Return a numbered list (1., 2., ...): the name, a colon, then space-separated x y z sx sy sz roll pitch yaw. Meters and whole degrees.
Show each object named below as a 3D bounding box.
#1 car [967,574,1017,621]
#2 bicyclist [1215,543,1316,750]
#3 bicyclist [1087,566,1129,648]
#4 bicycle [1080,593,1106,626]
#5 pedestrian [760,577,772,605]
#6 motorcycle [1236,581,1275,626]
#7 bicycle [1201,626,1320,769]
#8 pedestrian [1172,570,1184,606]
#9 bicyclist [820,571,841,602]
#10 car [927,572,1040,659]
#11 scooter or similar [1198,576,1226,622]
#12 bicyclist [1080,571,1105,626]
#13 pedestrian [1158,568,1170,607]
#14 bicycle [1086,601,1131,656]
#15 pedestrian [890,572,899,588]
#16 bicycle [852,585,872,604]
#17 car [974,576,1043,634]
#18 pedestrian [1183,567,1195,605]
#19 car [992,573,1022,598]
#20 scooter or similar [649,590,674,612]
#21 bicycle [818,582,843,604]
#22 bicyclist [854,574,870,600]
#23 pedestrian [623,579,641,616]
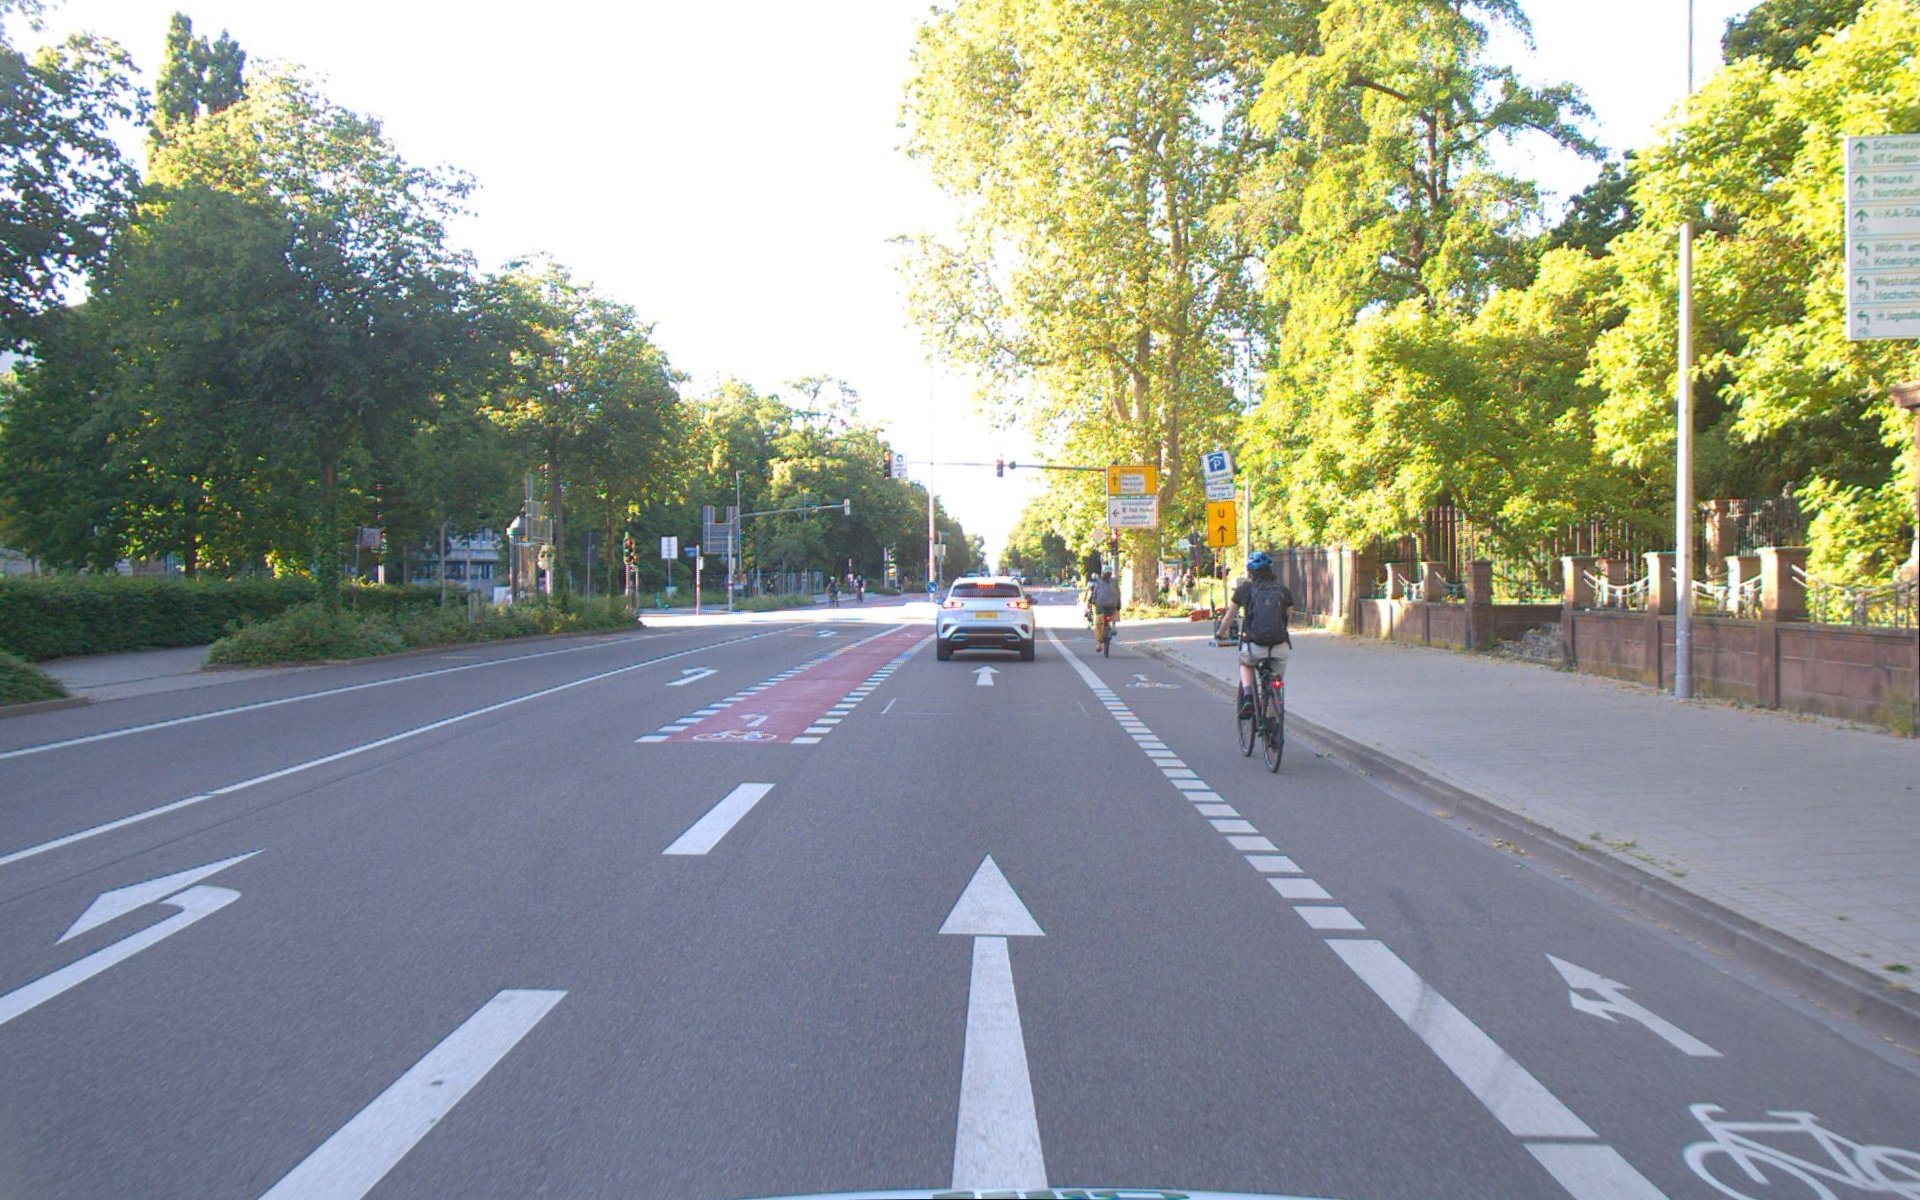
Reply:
1. car: 1.184 -0.114 61.038 1.734 1.619 4.001 -2 1 1
2. bicyclist: 2.514 0.361 13.723 0.623 1.642 1.284 0 0 1
3. bicyclist: 2.874 0.124 32.208 0.732 1.564 0.970 0 0 1
4. bicycle: 4.269 0.291 53.172 0.737 1.044 1.869 0 0 1
5. pedestrian: -13.649 -0.640 116.468 0.637 1.921 0.663 -1 0 3
6. motorcycle: 8.113 0.081 45.490 0.648 1.188 2.328 -3 1 1
7. bicycle: 2.508 0.779 14.031 0.630 1.042 2.213 1 1 1
8. pedestrian: 10.459 -0.557 79.238 0.472 1.668 0.432 -4 4 7
9. bicyclist: -7.651 -0.809 98.027 1.069 1.785 1.098 -1 0 3
10. car: 0.445 0.253 31.164 1.952 1.478 4.001 -2 1 1
11. scooter or similar: 7.962 -0.041 52.270 0.554 1.407 1.856 -1 1 0
12. bicyclist: 4.262 -0.053 53.201 0.734 1.780 0.843 0 0 1
13. pedestrian: 9.752 -0.588 79.123 0.472 1.822 0.432 -4 4 7
14. bicycle: 2.874 0.541 32.126 0.737 1.044 1.869 0 0 1
15. pedestrian: -8.933 -2.761 225.979 0.857 2.186 1.104 -1 0 10
16. bicycle: -6.573 -0.392 111.198 0.944 1.201 2.952 -1 1 3
17. car: 1.379 0.105 48.112 1.889 1.560 4.001 -2 1 1
18. pedestrian: 11.057 -0.676 79.822 0.472 1.822 0.432 -4 4 7
19. car: 3.119 -0.954 108.873 1.700 1.573 4.003 -1 1 5
20. scooter or similar: -16.964 0.047 94.030 0.500 1.164 1.700 -1 1 22
21. bicycle: -7.655 -0.427 98.018 1.079 1.277 2.780 -1 1 3
22. bicyclist: -6.573 -0.860 111.259 0.936 1.735 1.233 -1 0 3
23. pedestrian: -16.865 -0.139 85.060 0.673 1.823 0.769 -4 1 1
